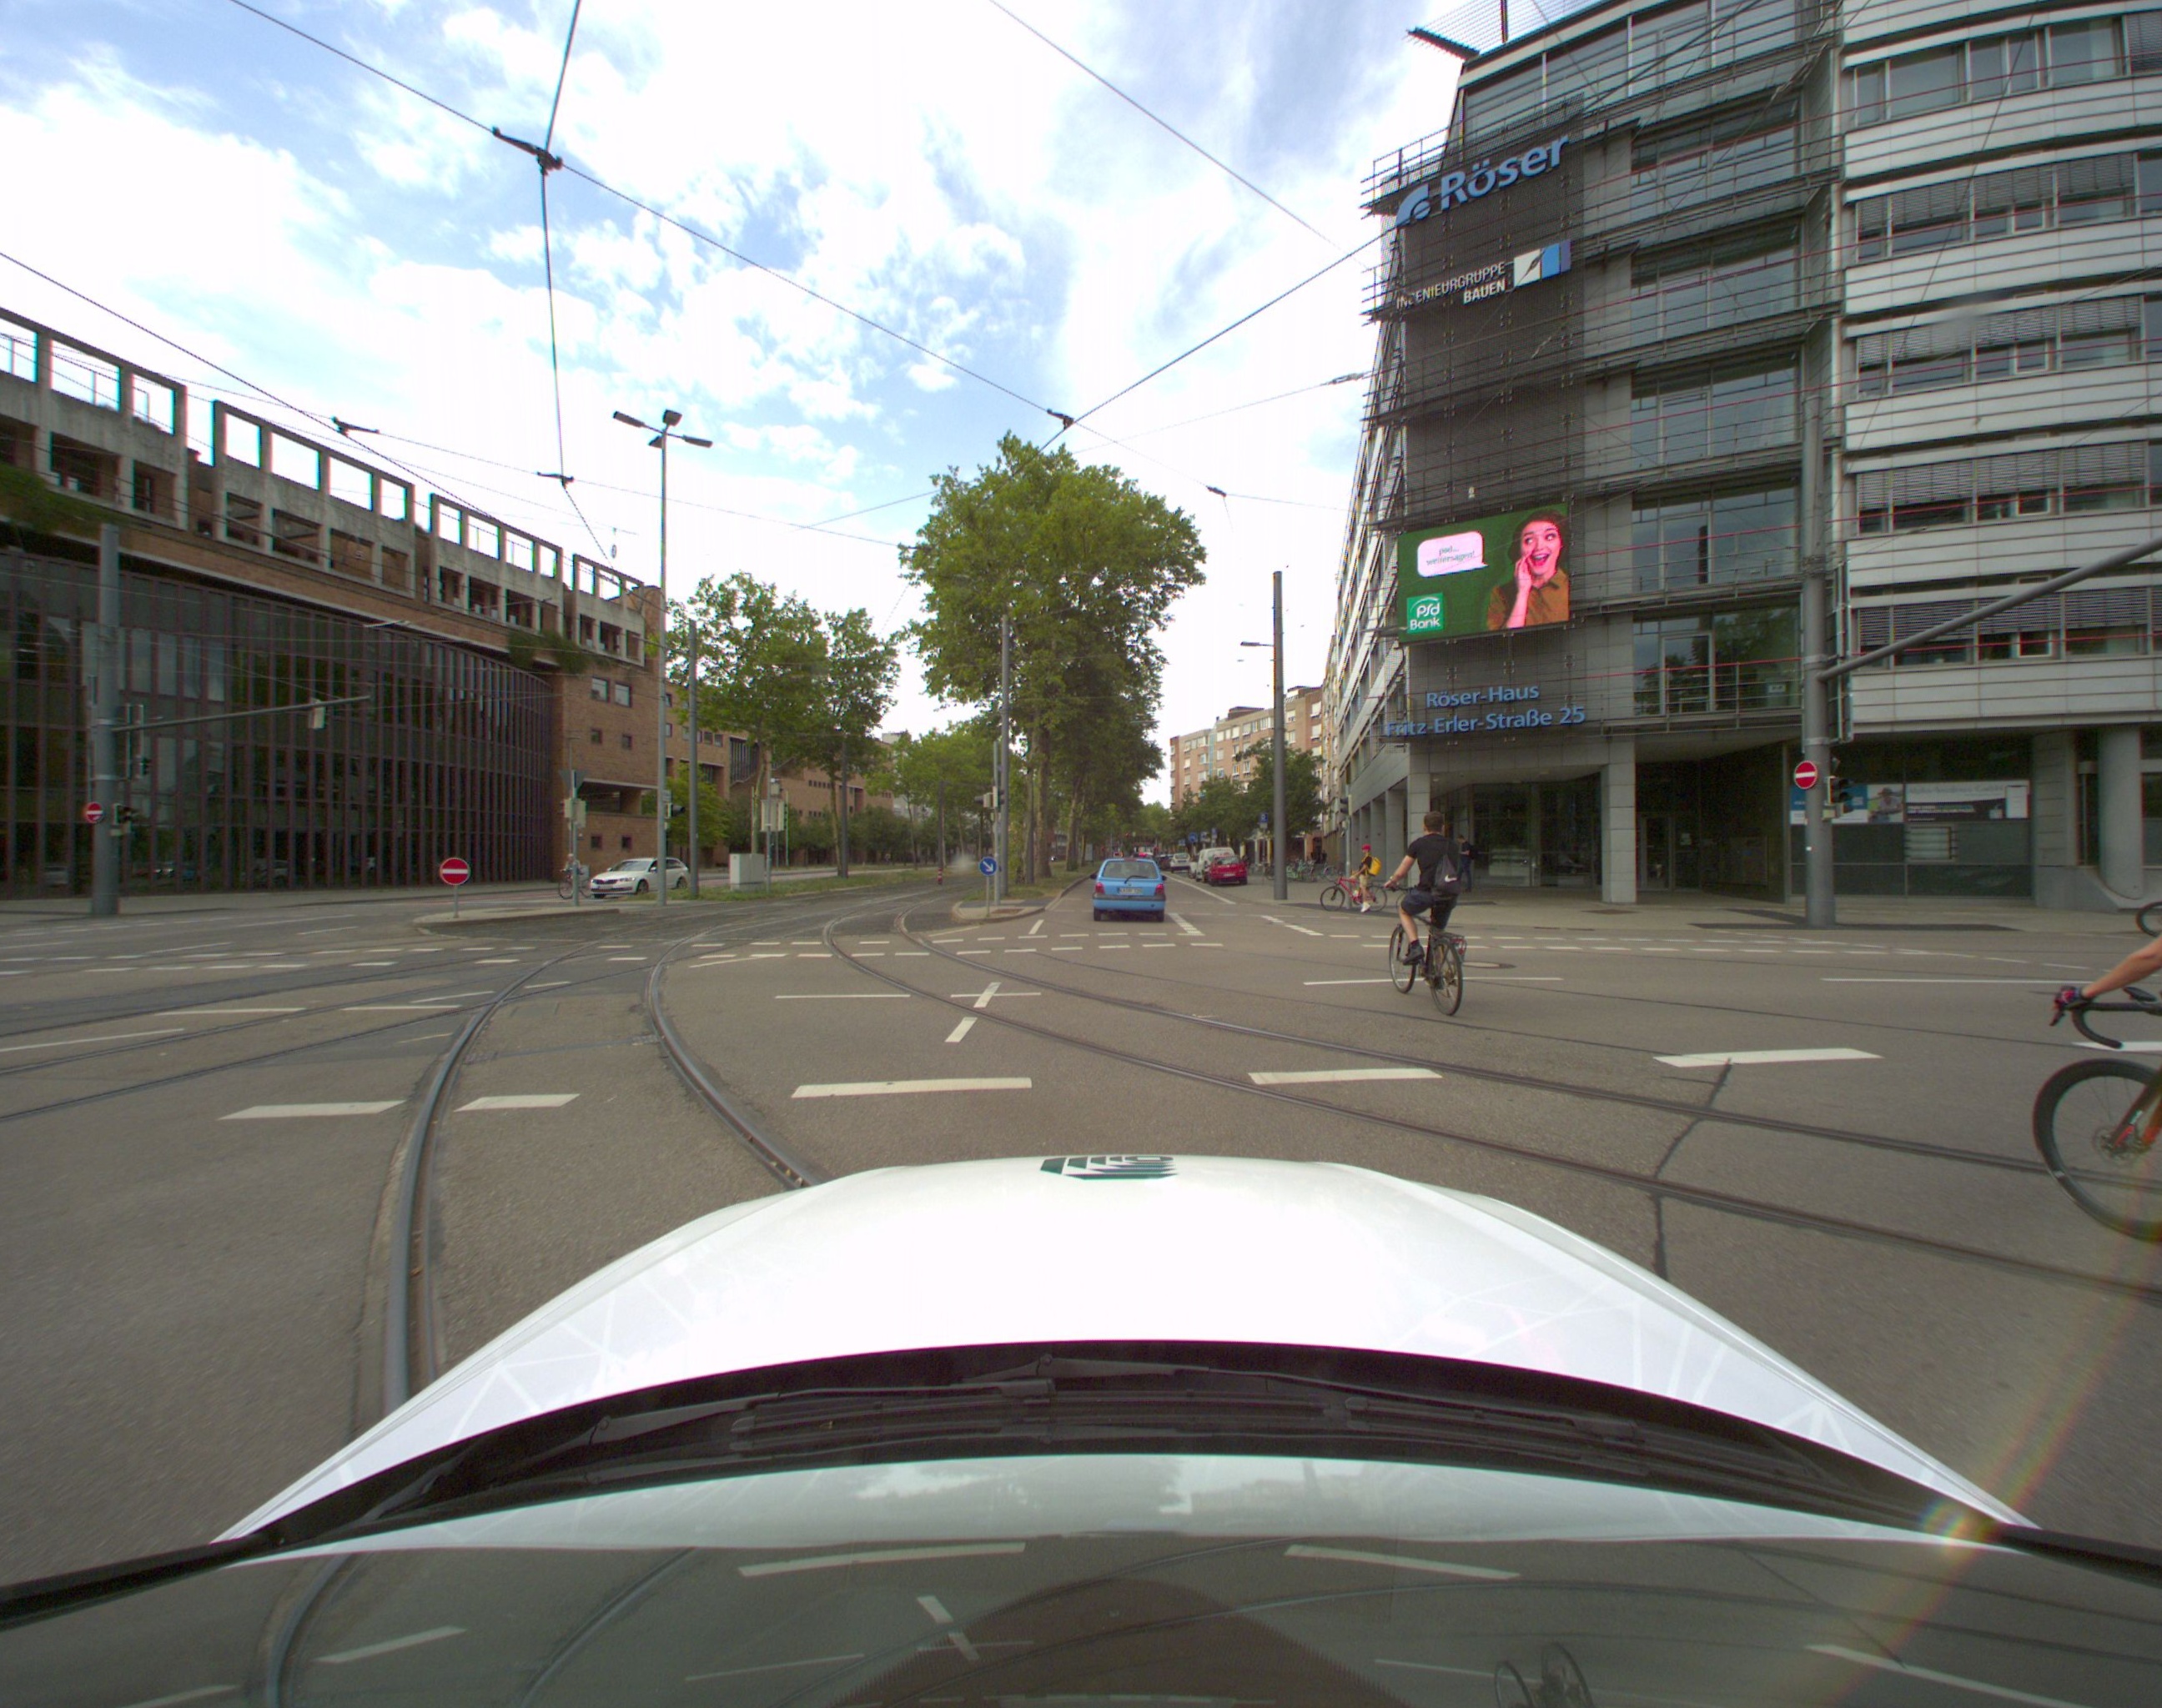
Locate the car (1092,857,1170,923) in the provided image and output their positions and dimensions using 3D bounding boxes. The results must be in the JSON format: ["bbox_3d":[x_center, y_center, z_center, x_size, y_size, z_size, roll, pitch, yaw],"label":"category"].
[{"bbox_3d":[1.187,0.773,19.194,1.633,1.386,3.847,0,0,4],"label":"car"}]

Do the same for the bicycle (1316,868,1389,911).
[{"bbox_3d":[7.579,0.989,22.745,1.882,1.139,0.730,-1,0,20],"label":"bicycle"}]

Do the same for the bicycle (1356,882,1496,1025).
[{"bbox_3d":[3.326,0.894,8.064,0.591,1.139,2.093,-1,0,3],"label":"bicycle"}]

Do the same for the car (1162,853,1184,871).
[{"bbox_3d":[8.688,0.737,77.125,1.708,1.519,4.206,-2,0,2],"label":"car"}]

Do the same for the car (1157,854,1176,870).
[{"bbox_3d":[8.651,0.757,82.485,1.732,1.519,4.406,-2,0,4],"label":"car"}]

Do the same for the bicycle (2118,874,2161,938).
[{"bbox_3d":[19.991,0.898,14.135,0.664,1.139,2.411,1,-3,-39],"label":"bicycle"}]

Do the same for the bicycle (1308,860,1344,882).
[{"bbox_3d":[11.458,0.798,38.146,1.554,0.987,0.422,-2,0,-2],"label":"bicycle"}]

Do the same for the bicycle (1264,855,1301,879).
[{"bbox_3d":[10.602,0.686,42.889,1.897,1.197,0.481,-1,0,10],"label":"bicycle"}]

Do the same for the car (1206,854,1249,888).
[{"bbox_3d":[6.963,0.757,39.098,1.713,1.432,4.262,-3,0,7],"label":"car"}]

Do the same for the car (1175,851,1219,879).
[{"bbox_3d":[7.473,0.687,52.841,1.990,1.602,4.579,-3,0,-2],"label":"car"}]

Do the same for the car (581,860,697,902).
[{"bbox_3d":[-16.778,0.970,31.213,1.777,1.421,4.660,-1,0,2],"label":"car"}]

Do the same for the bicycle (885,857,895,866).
[{"bbox_3d":[-25.065,0.981,106.774,0.664,1.084,2.097,0,0,6],"label":"bicycle"}]

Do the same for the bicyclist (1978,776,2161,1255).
[{"bbox_3d":[4.013,0.553,2.856,0.587,1.654,1.036,-1,0,3],"label":"bicyclist"}]

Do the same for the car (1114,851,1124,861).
[{"bbox_3d":[7.646,0.415,164.512,1.923,1.925,4.960,0,0,3],"label":"car"}]

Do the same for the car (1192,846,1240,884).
[{"bbox_3d":[7.209,0.553,43.910,1.821,1.864,4.648,-3,0,1],"label":"car"}]

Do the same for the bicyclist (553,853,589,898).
[{"bbox_3d":[-18.854,0.791,30.143,0.719,1.609,0.902,-1,0,2],"label":"bicyclist"}]

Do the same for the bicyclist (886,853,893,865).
[{"bbox_3d":[-25.071,0.628,106.724,0.661,1.590,0.986,0,0,6],"label":"bicyclist"}]

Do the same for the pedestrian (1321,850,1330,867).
[{"bbox_3d":[21.629,0.399,72.027,0.704,1.555,0.802,-1,0,16],"label":"pedestrian"}]

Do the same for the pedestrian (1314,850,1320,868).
[{"bbox_3d":[20.896,0.456,72.195,0.508,1.555,0.475,-1,0,16],"label":"pedestrian"}]

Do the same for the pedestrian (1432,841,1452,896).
[{"bbox_3d":[11.578,0.458,26.096,0.549,1.726,0.498,-1,1,24],"label":"pedestrian"}]

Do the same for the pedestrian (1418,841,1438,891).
[{"bbox_3d":[12.077,0.413,28.341,0.542,1.726,0.646,-1,1,14],"label":"pedestrian"}]

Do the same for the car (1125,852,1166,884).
[{"bbox_3d":[3.553,0.723,44.204,1.764,1.577,4.316,-2,0,9],"label":"car"}]

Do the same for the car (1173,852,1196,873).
[{"bbox_3d":[8.608,0.675,67.962,1.852,1.653,4.170,-2,0,6],"label":"car"}]

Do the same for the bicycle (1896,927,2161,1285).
[{"bbox_3d":[4.027,0.914,2.889,0.591,1.139,1.736,-1,0,3],"label":"bicycle"}]

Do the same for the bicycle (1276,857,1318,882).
[{"bbox_3d":[10.228,0.748,38.612,1.845,1.139,0.492,-1,0,-4],"label":"bicycle"}]

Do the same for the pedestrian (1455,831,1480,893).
[{"bbox_3d":[12.883,0.255,27.178,0.598,2.013,0.677,-1,3,9],"label":"pedestrian"}]

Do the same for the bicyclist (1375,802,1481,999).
[{"bbox_3d":[3.308,0.419,7.843,0.587,1.768,1.036,-1,0,3],"label":"bicyclist"}]

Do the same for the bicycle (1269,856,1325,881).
[{"bbox_3d":[10.879,0.731,41.023,2.621,1.258,0.655,-1,0,3],"label":"bicycle"}]

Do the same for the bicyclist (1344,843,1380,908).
[{"bbox_3d":[7.817,0.596,22.651,0.905,1.764,0.723,-1,0,20],"label":"bicyclist"}]

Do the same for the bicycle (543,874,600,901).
[{"bbox_3d":[-18.844,1.226,30.174,0.727,0.917,2.124,-1,0,2],"label":"bicycle"}]

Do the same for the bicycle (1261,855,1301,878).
[{"bbox_3d":[10.667,0.679,43.399,2.042,1.197,0.481,-1,0,10],"label":"bicycle"}]
